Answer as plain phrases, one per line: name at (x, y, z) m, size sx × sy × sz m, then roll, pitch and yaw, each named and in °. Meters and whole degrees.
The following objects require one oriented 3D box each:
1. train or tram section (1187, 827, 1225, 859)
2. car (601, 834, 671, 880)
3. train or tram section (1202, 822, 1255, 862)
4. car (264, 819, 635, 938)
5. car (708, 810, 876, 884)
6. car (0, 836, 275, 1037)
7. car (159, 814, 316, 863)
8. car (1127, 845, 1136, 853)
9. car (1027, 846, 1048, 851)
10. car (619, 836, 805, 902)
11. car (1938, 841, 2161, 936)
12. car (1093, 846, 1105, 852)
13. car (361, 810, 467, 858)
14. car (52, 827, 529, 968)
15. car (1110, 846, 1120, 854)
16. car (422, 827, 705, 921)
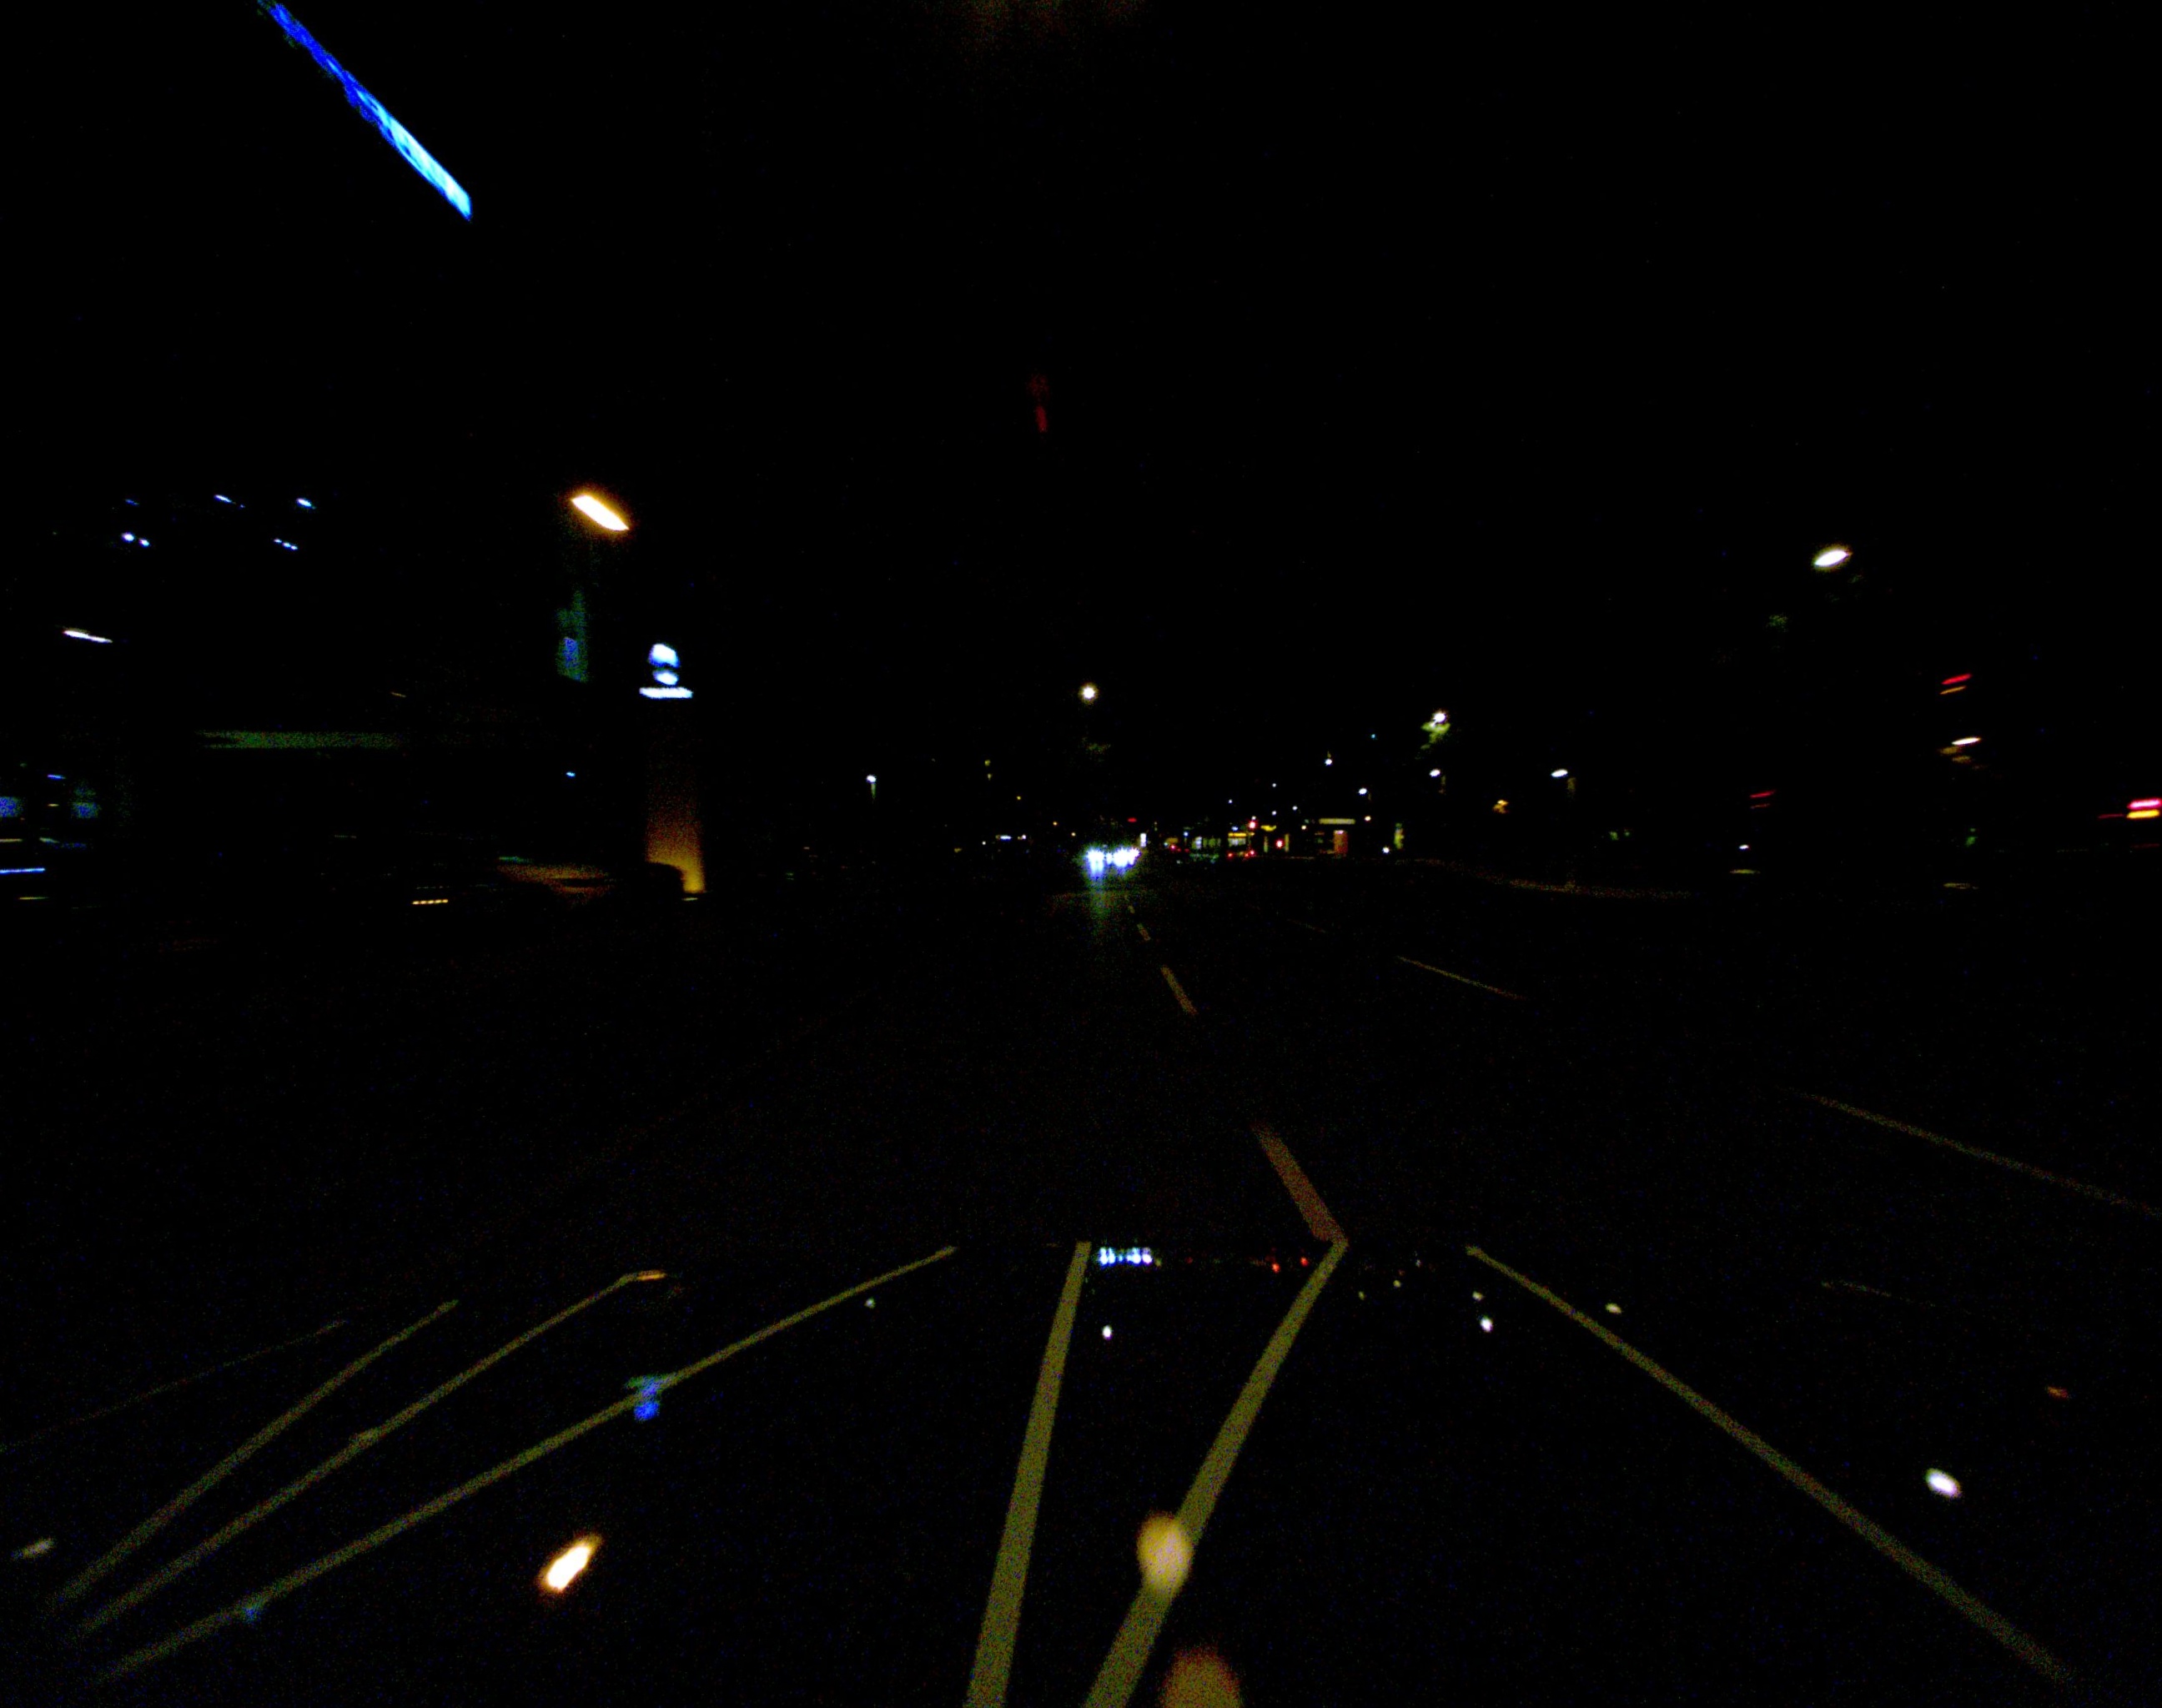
train or tram section at (16.569, -1.500, 102.146) m, size 2.744 × 3.824 × 19.364 m, roll -1°, pitch 1°, yaw 3°
car at (-17.722, 0.093, 30.429) m, size 1.813 × 1.702 × 3.959 m, roll 1°, pitch 1°, yaw -21°
train or tram section at (15.798, -1.264, 83.137) m, size 2.765 × 3.805 × 18.670 m, roll -1°, pitch 1°, yaw 2°
car at (-10.603, 0.418, 13.166) m, size 4.476 × 1.677 × 1.998 m, roll 3°, pitch 0°, yaw -10°
car at (-11.549, -0.251, 30.931) m, size 6.041 × 2.514 × 2.280 m, roll 4°, pitch 0°, yaw -16°
car at (-10.742, 0.618, 6.926) m, size 4.475 × 1.539 × 1.768 m, roll 3°, pitch 1°, yaw -9°
car at (-31.436, -0.580, 28.548) m, size 2.002 × 1.652 × 4.658 m, roll -2°, pitch 2°, yaw -21°
car at (10.719, -1.065, 160.943) m, size 1.907 × 1.609 × 3.718 m, roll -1°, pitch 1°, yaw 2°
car at (-8.267, -1.013, 144.739) m, size 4.008 × 1.028 × 1.480 m, roll 0°, pitch 0°, yaw -39°
car at (-10.053, 0.395, 21.036) m, size 4.216 × 1.653 × 1.959 m, roll 2°, pitch 1°, yaw -10°
car at (19.006, 0.570, 13.930) m, size 1.789 × 1.489 × 4.172 m, roll -2°, pitch 2°, yaw -2°
car at (3.811, -1.022, 158.480) m, size 1.947 × 1.299 × 3.907 m, roll 1°, pitch 1°, yaw 8°
car at (-25.702, -0.750, 29.455) m, size 1.785 × 1.592 × 3.959 m, roll 4°, pitch 0°, yaw -21°
car at (-10.235, 0.564, 10.218) m, size 4.094 × 1.559 × 1.853 m, roll 3°, pitch 0°, yaw -10°
car at (7.053, -0.803, 156.996) m, size 1.858 × 1.482 × 3.560 m, roll -1°, pitch 1°, yaw 8°
car at (-10.673, 0.417, 16.045) m, size 4.475 × 1.799 × 1.998 m, roll 1°, pitch 0°, yaw -10°
